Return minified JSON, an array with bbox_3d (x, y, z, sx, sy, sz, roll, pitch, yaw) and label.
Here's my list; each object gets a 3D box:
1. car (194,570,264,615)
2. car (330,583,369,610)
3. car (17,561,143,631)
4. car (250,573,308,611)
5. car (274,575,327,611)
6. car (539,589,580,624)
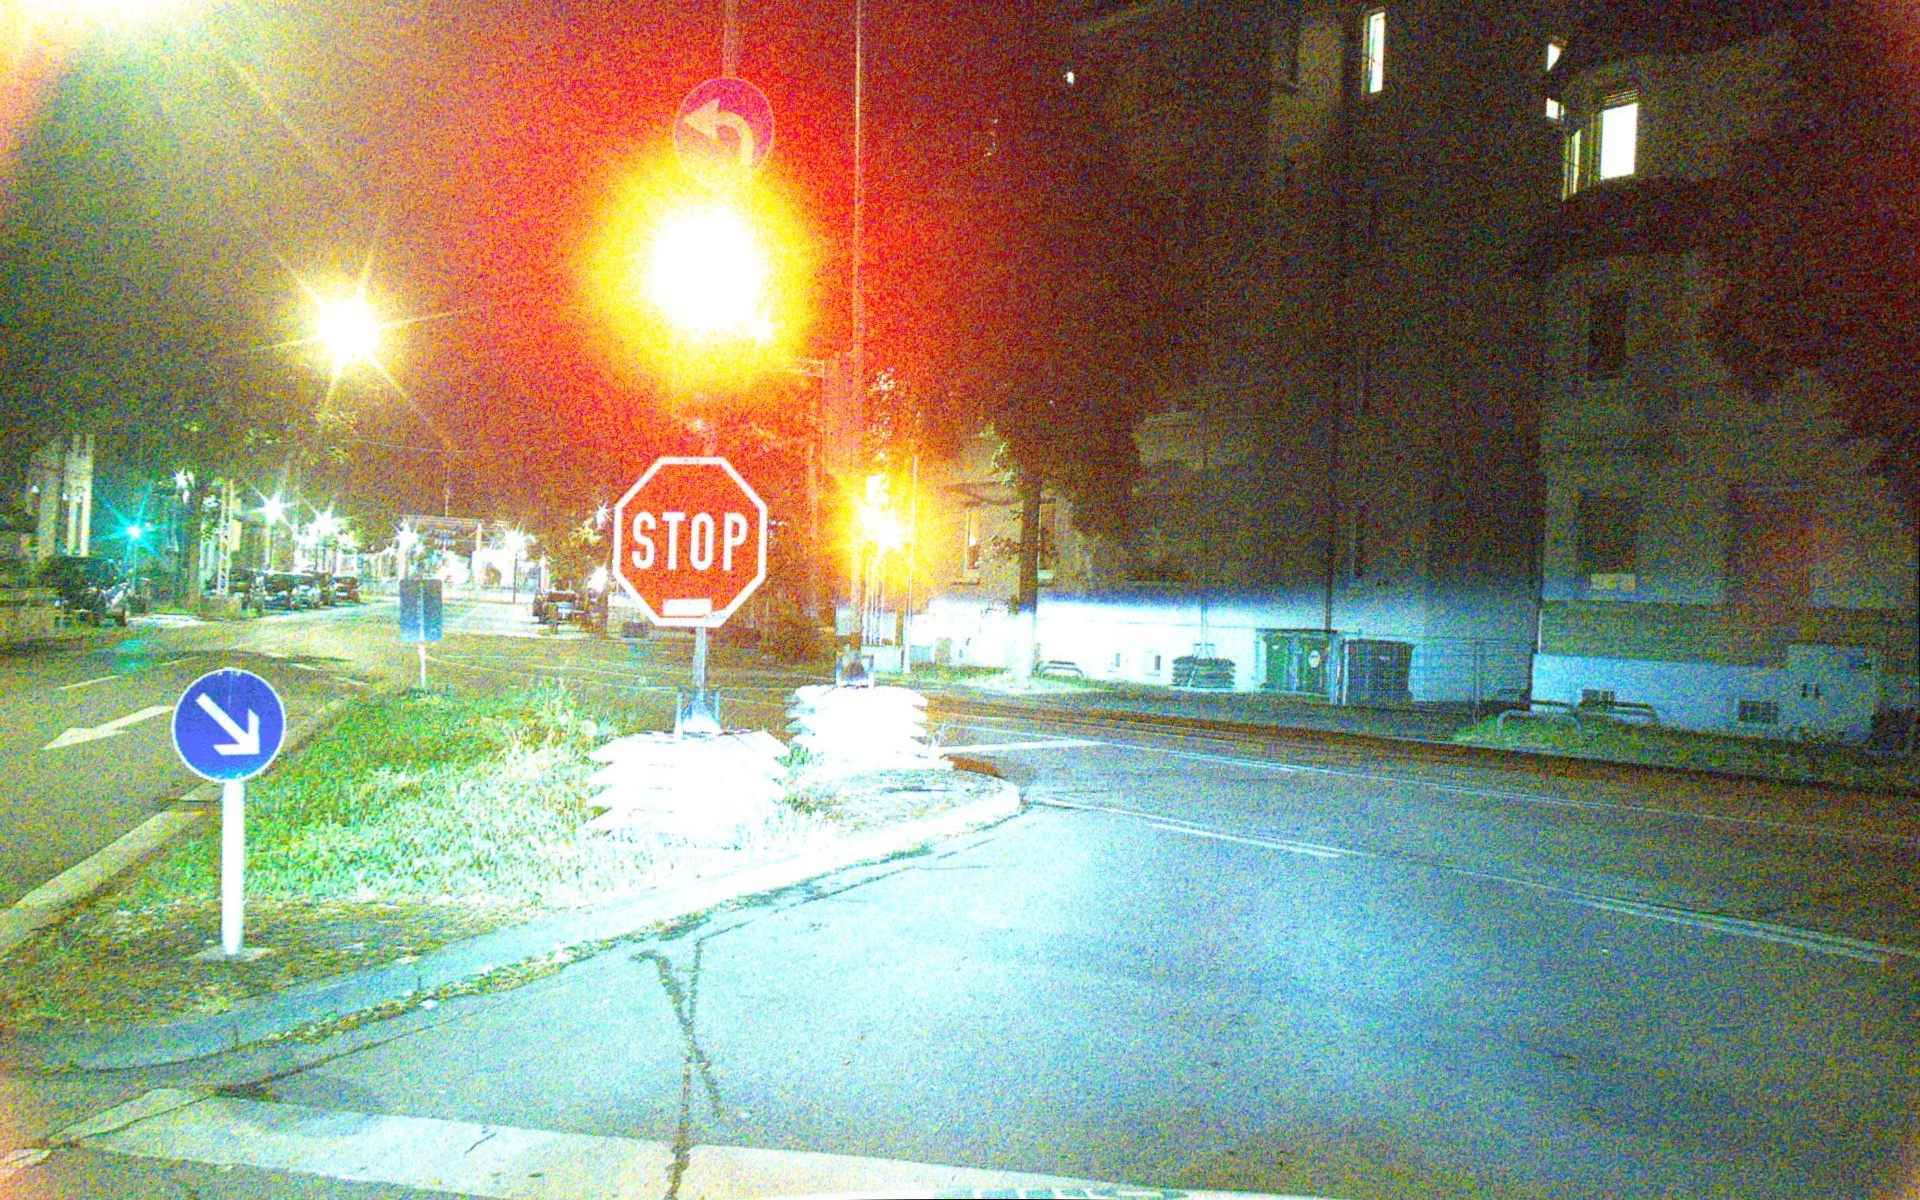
[{"bbox_3d":[-25.751,-0.268,58.368,1.624,1.456,3.984,2,0,-15],"label":"car"},{"bbox_3d":[-33.923,-0.199,91.993,1.624,1.456,3.984,2,0,-15],"label":"car"},{"bbox_3d":[-19.939,-0.100,37.621,1.624,1.456,3.984,2,0,-15],"label":"car"},{"bbox_3d":[-27.309,-0.322,66.412,1.624,1.456,3.984,2,0,-15],"label":"car"},{"bbox_3d":[-28.844,-0.305,72.432,1.624,1.456,3.984,2,0,-15],"label":"car"},{"bbox_3d":[-17.371,0.261,71.792,1.623,1.456,3.986,2,0,-14],"label":"car"}]
